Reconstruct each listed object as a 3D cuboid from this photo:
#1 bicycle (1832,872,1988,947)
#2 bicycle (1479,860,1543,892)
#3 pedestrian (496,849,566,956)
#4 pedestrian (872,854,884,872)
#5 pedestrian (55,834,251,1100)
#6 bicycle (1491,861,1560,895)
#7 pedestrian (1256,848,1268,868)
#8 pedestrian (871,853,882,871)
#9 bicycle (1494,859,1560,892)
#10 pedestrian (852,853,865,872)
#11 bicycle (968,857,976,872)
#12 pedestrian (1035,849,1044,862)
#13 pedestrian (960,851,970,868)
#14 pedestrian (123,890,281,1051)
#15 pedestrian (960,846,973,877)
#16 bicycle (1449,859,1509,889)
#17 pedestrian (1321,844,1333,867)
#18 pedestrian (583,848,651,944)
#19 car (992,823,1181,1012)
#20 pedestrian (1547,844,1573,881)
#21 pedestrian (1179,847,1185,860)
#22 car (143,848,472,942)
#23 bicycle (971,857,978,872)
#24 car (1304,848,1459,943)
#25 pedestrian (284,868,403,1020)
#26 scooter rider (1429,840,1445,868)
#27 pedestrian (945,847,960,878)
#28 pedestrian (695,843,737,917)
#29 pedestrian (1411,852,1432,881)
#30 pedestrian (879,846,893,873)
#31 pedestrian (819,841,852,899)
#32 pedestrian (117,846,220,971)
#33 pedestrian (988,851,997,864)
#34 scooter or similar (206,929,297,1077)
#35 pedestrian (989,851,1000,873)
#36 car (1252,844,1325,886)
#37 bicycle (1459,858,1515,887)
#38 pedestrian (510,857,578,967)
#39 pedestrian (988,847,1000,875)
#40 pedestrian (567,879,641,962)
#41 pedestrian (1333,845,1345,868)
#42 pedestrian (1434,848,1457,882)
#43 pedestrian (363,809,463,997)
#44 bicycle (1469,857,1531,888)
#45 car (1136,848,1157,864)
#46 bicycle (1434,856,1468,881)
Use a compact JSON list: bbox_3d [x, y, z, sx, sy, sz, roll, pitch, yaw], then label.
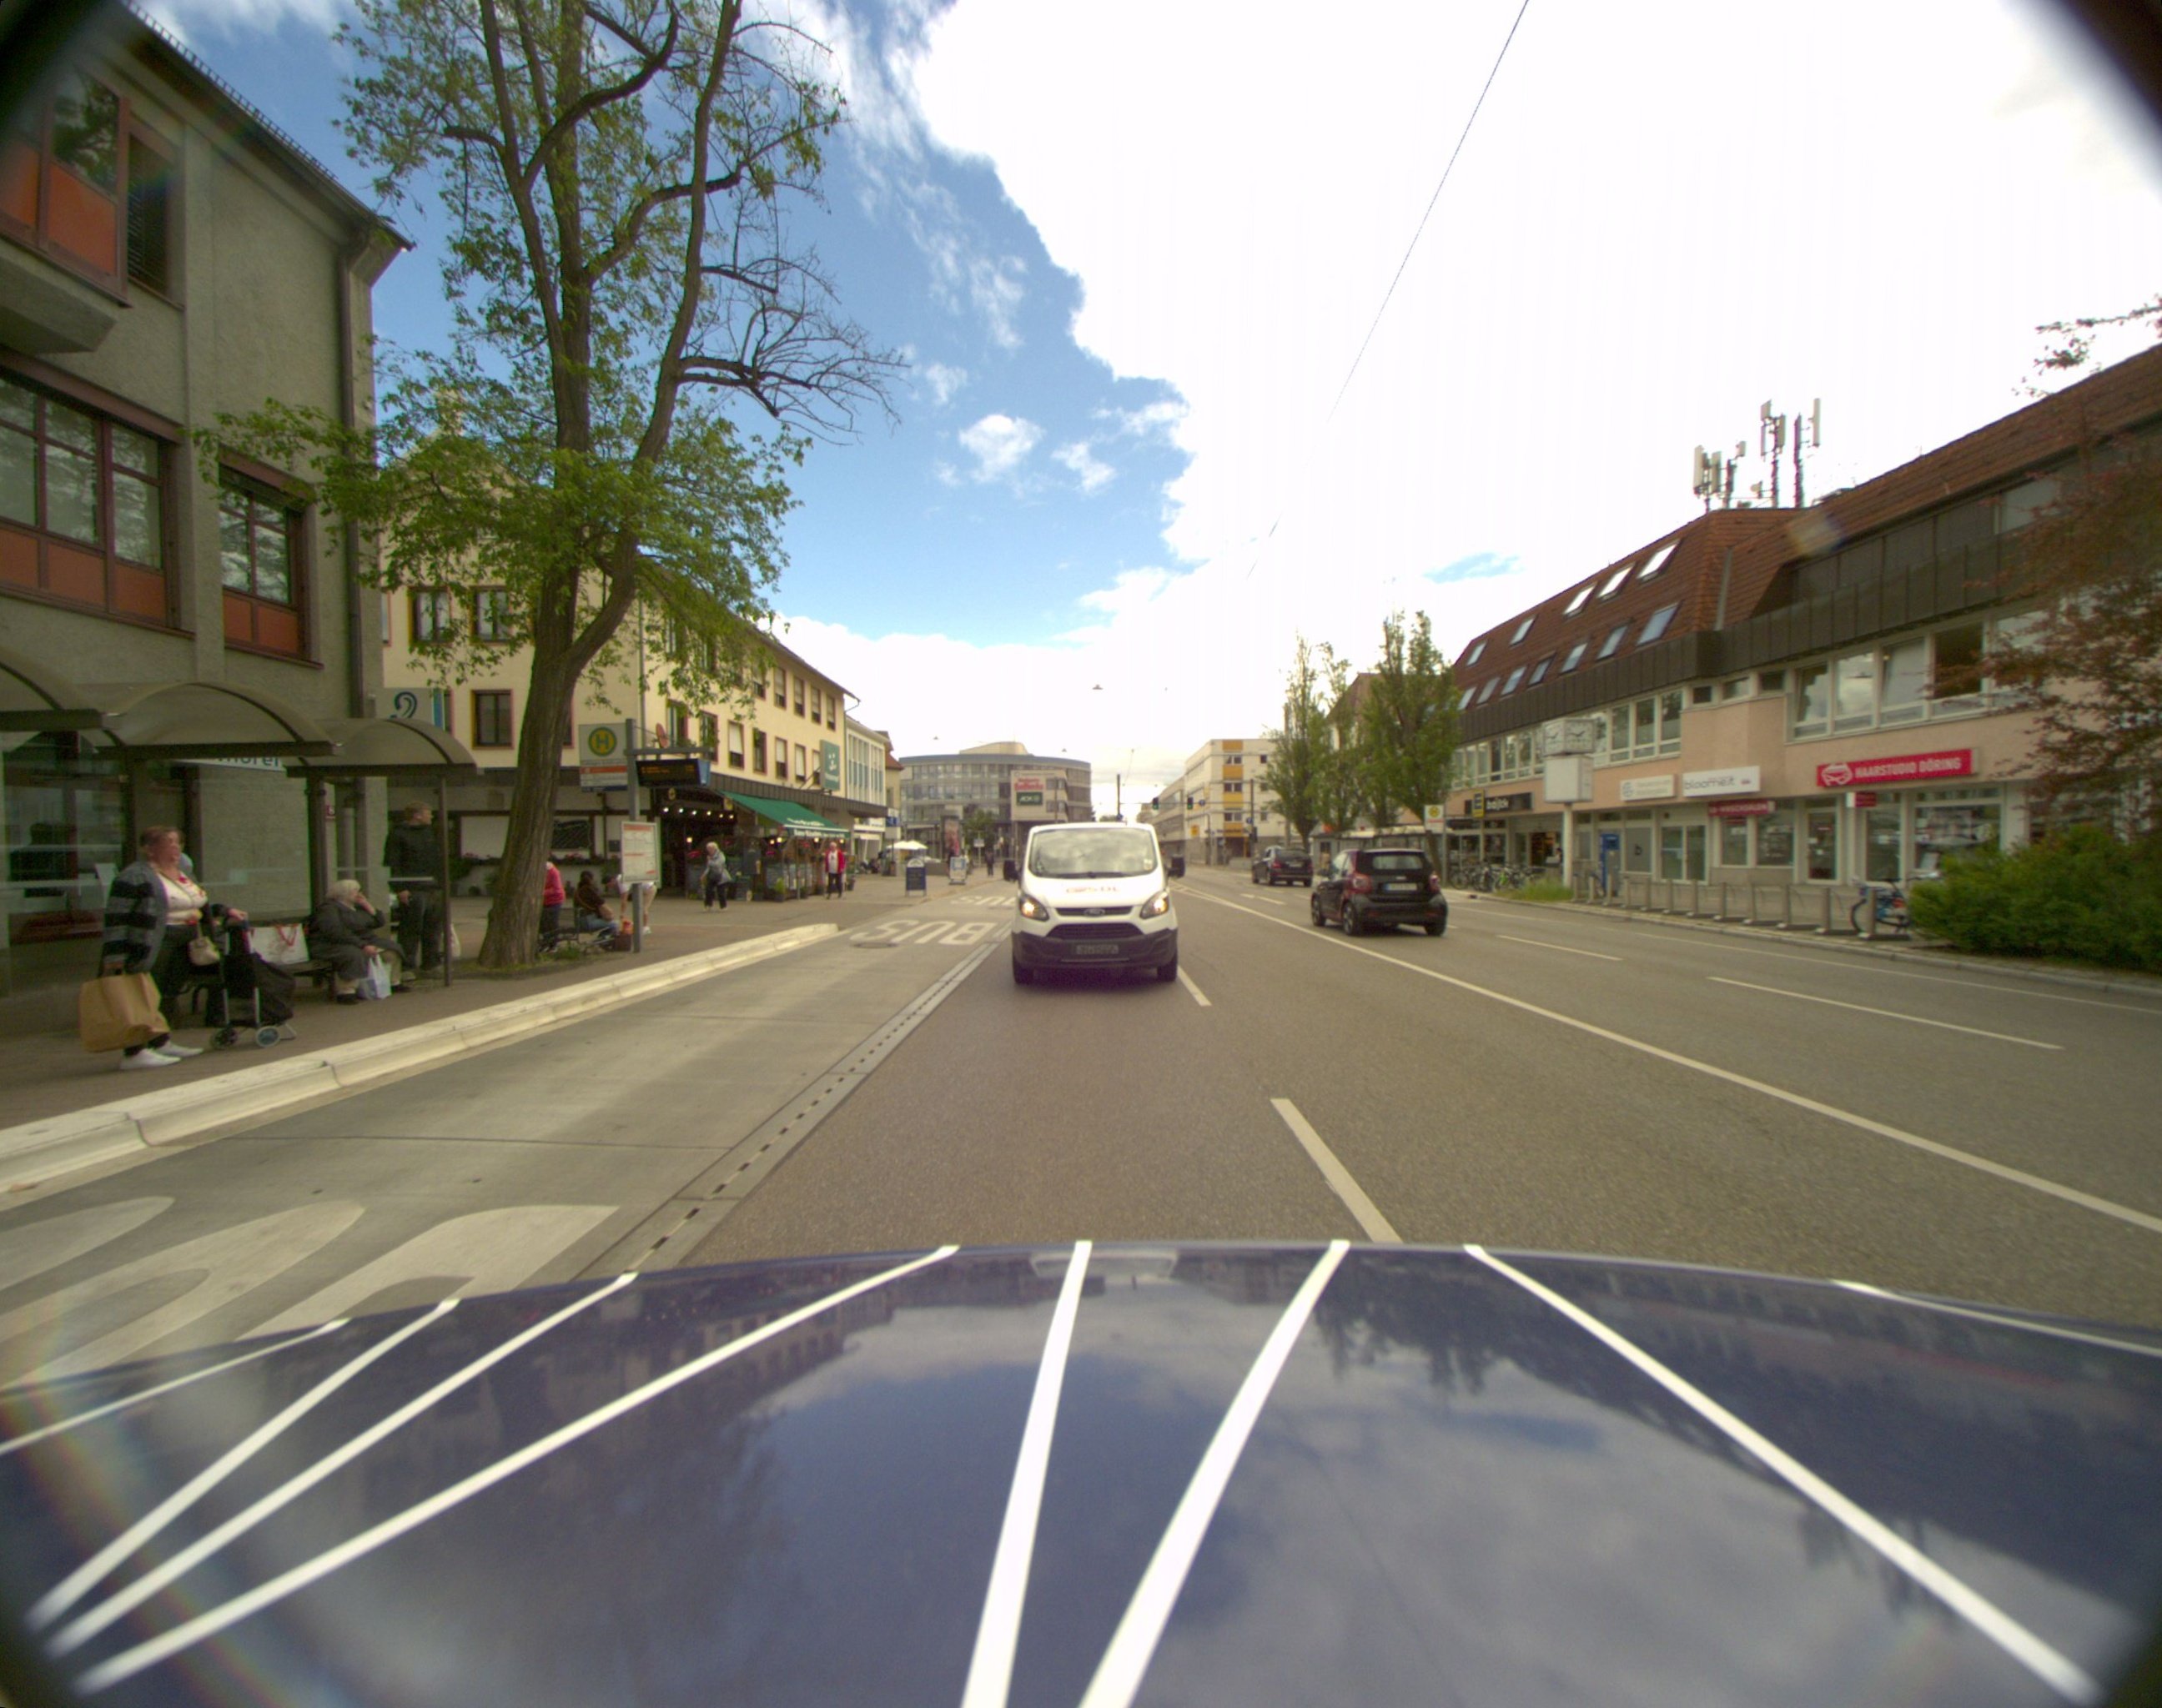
[{"bbox_3d":[13.022,0.848,11.954,2.024,1.084,0.648,-1,1,-9],"label":"bicycle"},{"bbox_3d":[15.257,0.778,26.979,2.024,1.084,0.648,-1,1,-9],"label":"bicycle"},{"bbox_3d":[-8.625,0.747,11.933,0.614,1.625,0.588,-1,1,5],"label":"pedestrian"},{"bbox_3d":[-14.351,0.610,53.807,0.614,1.213,0.588,-4,0,-2],"label":"pedestrian"},{"bbox_3d":[-6.132,0.702,5.061,0.537,1.625,0.587,-4,1,-24],"label":"pedestrian"},{"bbox_3d":[14.860,0.781,25.398,2.024,1.084,0.648,-1,1,-9],"label":"bicycle"},{"bbox_3d":[14.939,0.318,62.720,0.702,1.625,0.614,-4,1,-10],"label":"pedestrian"},{"bbox_3d":[-14.311,0.563,53.176,0.614,1.213,0.588,1,0,-2],"label":"pedestrian"},{"bbox_3d":[15.430,0.749,26.282,2.024,1.084,0.648,-1,1,-9],"label":"bicycle"},{"bbox_3d":[-14.748,0.545,50.315,0.614,1.213,0.588,-4,0,-2],"label":"pedestrian"},{"bbox_3d":[-7.322,0.722,50.937,0.274,0.968,1.387,0,0,2],"label":"bicycle"},{"bbox_3d":[-5.372,0.229,98.646,0.808,1.637,0.886,-1,1,-34],"label":"pedestrian"},{"bbox_3d":[-10.876,0.519,71.234,0.589,1.613,0.743,-4,1,-31],"label":"pedestrian"},{"bbox_3d":[-7.345,0.941,6.371,0.701,1.225,0.588,2,1,10],"label":"pedestrian"},{"bbox_3d":[-6.158,0.393,40.969,0.614,1.625,0.615,0,2,-2],"label":"pedestrian"},{"bbox_3d":[15.311,0.768,29.241,2.023,1.084,0.649,-1,1,-4],"label":"bicycle"},{"bbox_3d":[18.411,0.114,56.826,0.587,1.625,0.615,-4,1,-1],"label":"pedestrian"},{"bbox_3d":[-8.206,0.715,13.462,0.614,1.625,0.795,2,1,12],"label":"pedestrian"},{"bbox_3d":[0.220,0.679,10.687,1.998,2.002,5.000,-1,0,4],"label":"car"},{"bbox_3d":[20.785,0.367,32.975,0.713,1.538,0.588,-1,0,0],"label":"pedestrian"},{"bbox_3d":[14.543,-0.091,109.500,0.587,1.792,0.526,-4,1,0],"label":"pedestrian"},{"bbox_3d":[-14.803,0.749,14.704,4.614,1.610,1.881,-1,1,5],"label":"car"},{"bbox_3d":[-7.354,0.703,52.430,0.274,1.047,1.387,0,0,2],"label":"bicycle"},{"bbox_3d":[5.298,0.664,13.781,1.574,1.531,2.960,0,1,-1],"label":"car"},{"bbox_3d":[-7.232,0.850,7.467,0.614,1.393,0.588,1,2,14],"label":"pedestrian"},{"bbox_3d":[21.816,-0.006,46.553,0.614,1.702,0.588,-4,1,-3],"label":"scooter rider"},{"bbox_3d":[-6.914,0.465,40.918,0.720,1.625,0.615,0,2,-2],"label":"pedestrian"},{"bbox_3d":[-8.901,0.620,18.554,0.684,1.732,0.781,1,2,-5],"label":"pedestrian"},{"bbox_3d":[16.301,0.614,36.367,0.713,1.356,0.588,-1,0,3],"label":"pedestrian"},{"bbox_3d":[-11.861,0.342,46.277,0.668,1.625,0.800,-1,1,-2],"label":"pedestrian"},{"bbox_3d":[-7.531,0.469,23.325,0.797,1.732,0.781,1,2,-5],"label":"pedestrian"},{"bbox_3d":[-12.217,0.713,10.189,0.587,1.625,0.615,-1,1,1],"label":"pedestrian"},{"bbox_3d":[-11.295,0.489,96.883,0.847,1.625,0.644,-4,1,-33],"label":"pedestrian"},{"bbox_3d":[-5.918,1.043,5.436,0.386,0.953,0.354,-1,1,-40],"label":"scooter or similar"},{"bbox_3d":[-6.347,0.598,55.932,0.689,1.625,0.853,0,1,0],"label":"pedestrian"},{"bbox_3d":[9.314,0.464,34.484,2.074,1.728,4.693,1,0,1],"label":"car"},{"bbox_3d":[16.119,0.735,30.160,2.025,1.084,0.648,-2,1,-13],"label":"bicycle"},{"bbox_3d":[-7.877,0.837,11.152,0.673,1.558,0.492,-2,-1,21],"label":"pedestrian"},{"bbox_3d":[-5.163,0.404,44.887,0.613,1.668,0.615,0,1,3],"label":"pedestrian"},{"bbox_3d":[-7.038,0.960,11.229,0.714,1.159,0.587,-1,0,-6],"label":"pedestrian"},{"bbox_3d":[19.358,0.198,56.915,0.587,1.702,0.615,-4,1,-1],"label":"pedestrian"},{"bbox_3d":[19.327,0.598,40.292,0.727,1.754,0.755,-4,1,-2],"label":"pedestrian"},{"bbox_3d":[-7.540,0.527,8.590,0.614,2.035,0.588,1,2,14],"label":"pedestrian"},{"bbox_3d":[15.540,0.674,28.182,2.024,1.084,0.648,-1,1,-9],"label":"bicycle"},{"bbox_3d":[6.551,0.186,76.155,1.879,1.497,4.343,1,1,1],"label":"car"},{"bbox_3d":[17.115,0.664,35.190,0.535,1.084,1.930,-1,1,-1],"label":"bicycle"}]
